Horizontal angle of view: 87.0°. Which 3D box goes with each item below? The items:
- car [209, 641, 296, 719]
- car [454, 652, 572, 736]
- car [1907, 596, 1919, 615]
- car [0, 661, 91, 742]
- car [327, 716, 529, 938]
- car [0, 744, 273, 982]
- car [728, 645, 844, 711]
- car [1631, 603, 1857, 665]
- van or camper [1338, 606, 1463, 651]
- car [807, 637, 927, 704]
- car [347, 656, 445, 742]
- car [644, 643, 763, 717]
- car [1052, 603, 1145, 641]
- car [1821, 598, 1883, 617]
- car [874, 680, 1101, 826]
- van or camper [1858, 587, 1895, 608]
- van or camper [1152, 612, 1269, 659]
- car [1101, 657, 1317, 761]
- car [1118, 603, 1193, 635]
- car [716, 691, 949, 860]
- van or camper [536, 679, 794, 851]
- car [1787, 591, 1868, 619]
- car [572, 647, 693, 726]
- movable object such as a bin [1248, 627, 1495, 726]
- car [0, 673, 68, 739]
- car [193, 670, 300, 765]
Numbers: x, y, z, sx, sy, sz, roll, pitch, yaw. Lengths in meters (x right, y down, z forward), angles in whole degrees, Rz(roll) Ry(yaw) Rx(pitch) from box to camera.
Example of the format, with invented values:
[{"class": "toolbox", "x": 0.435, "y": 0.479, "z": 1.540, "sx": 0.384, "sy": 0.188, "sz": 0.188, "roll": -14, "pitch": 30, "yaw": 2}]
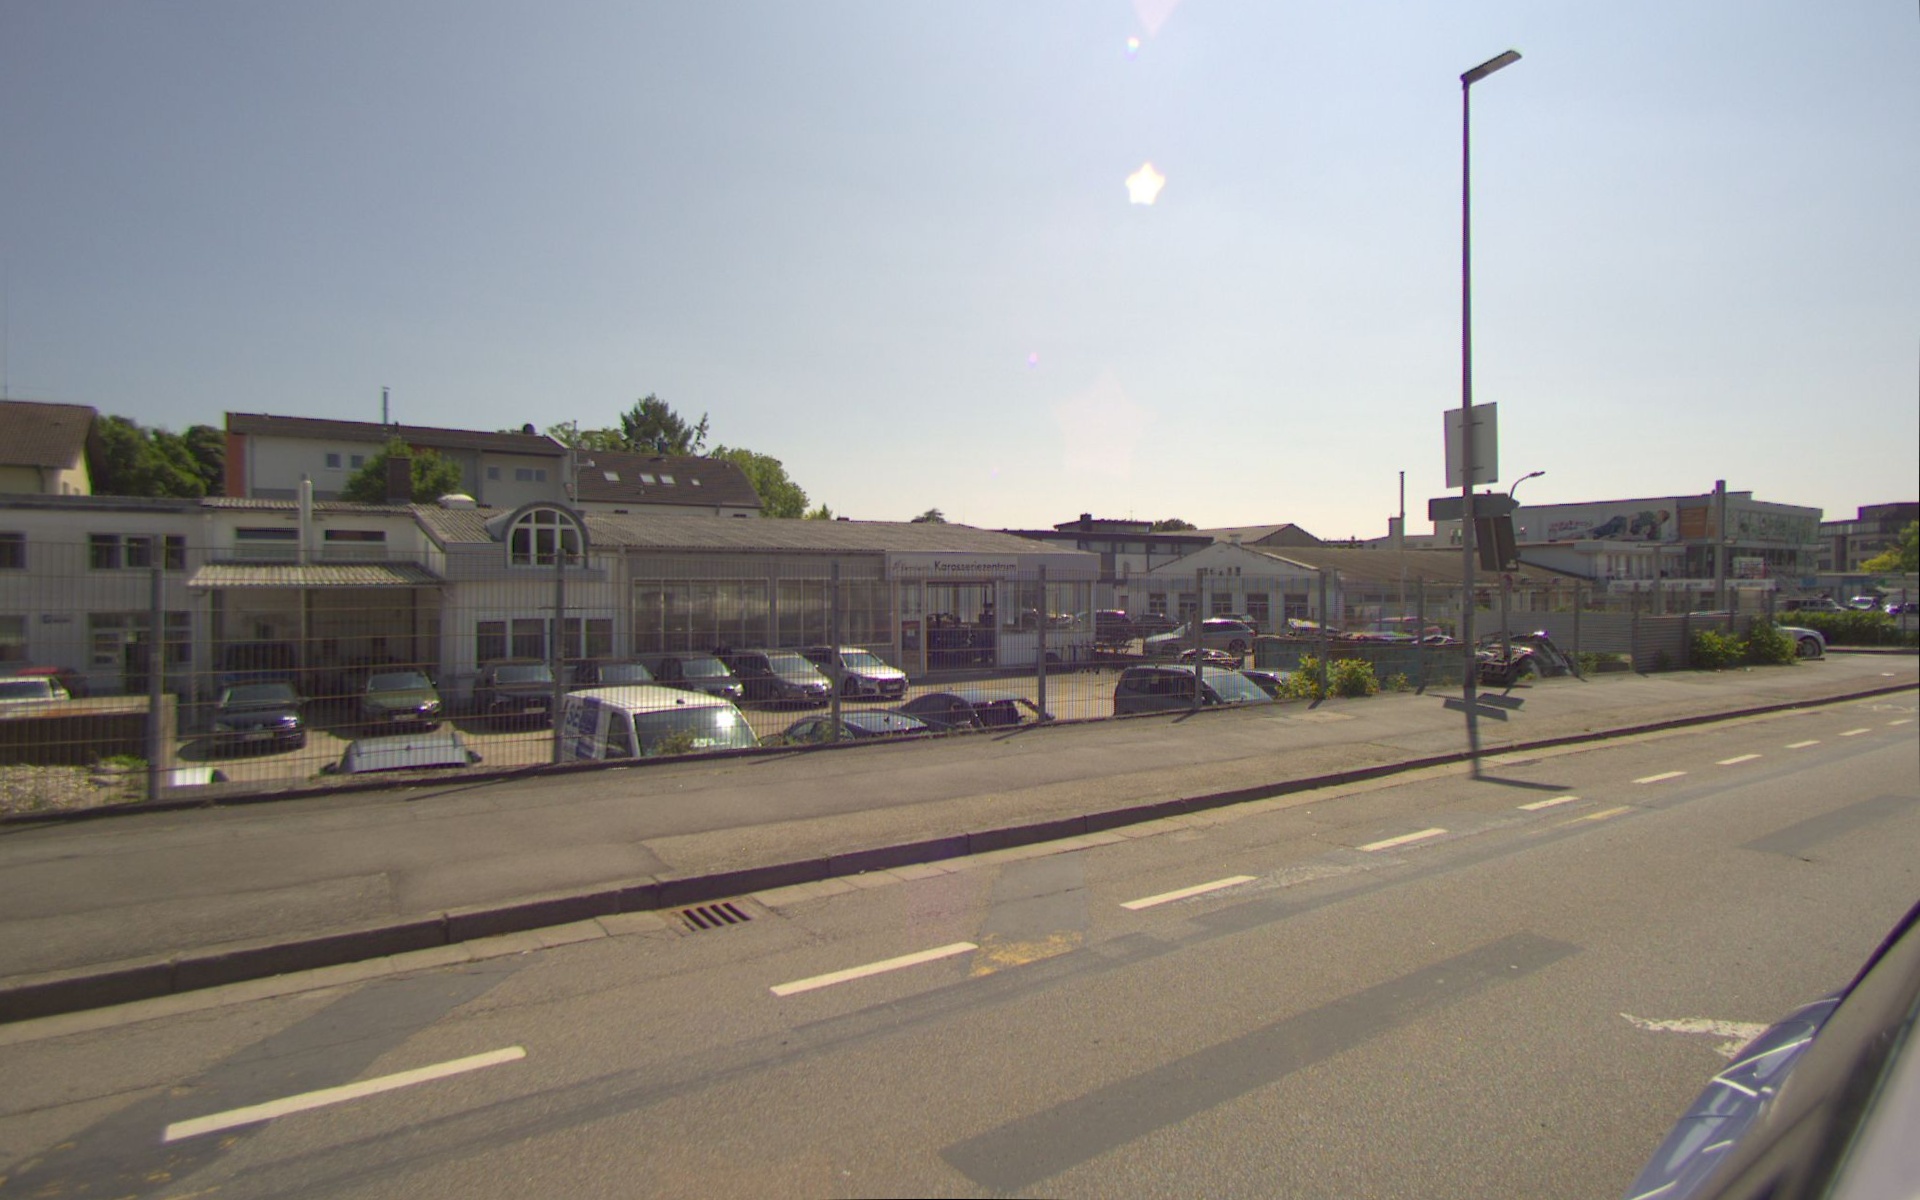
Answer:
[{"class": "car", "x": -19.883, "y": 2.162, "z": 28.412, "sx": 1.880, "sy": 1.880, "sz": 3.998, "roll": -1, "pitch": -1, "yaw": -36}, {"class": "car", "x": -11.766, "y": 2.370, "z": 26.517, "sx": 1.963, "sy": 1.682, "sz": 3.999, "roll": 0, "pitch": 1, "yaw": -37}, {"class": "car", "x": 88.549, "y": 0.504, "z": 91.114, "sx": 1.963, "sy": 1.699, "sz": 4.549, "roll": 0, "pitch": 0, "yaw": -38}, {"class": "car", "x": -26.750, "y": 2.877, "z": 29.387, "sx": 1.964, "sy": 2.039, "sz": 3.996, "roll": -2, "pitch": -1, "yaw": -37}, {"class": "car", "x": -7.014, "y": 2.705, "z": 13.132, "sx": 1.817, "sy": 2.040, "sz": 3.998, "roll": 0, "pitch": -2, "yaw": -35}, {"class": "car", "x": -9.722, "y": 2.900, "z": 12.069, "sx": 1.959, "sy": 1.854, "sz": 4.005, "roll": 0, "pitch": -2, "yaw": -26}, {"class": "car", "x": -5.291, "y": 2.271, "z": 30.416, "sx": 1.813, "sy": 1.534, "sz": 3.998, "roll": -2, "pitch": 2, "yaw": -37}, {"class": "car", "x": 20.466, "y": 0.904, "z": 26.545, "sx": 4.408, "sy": 1.376, "sz": 1.959, "roll": -2, "pitch": -3, "yaw": -5}, {"class": "van or camper", "x": 15.072, "y": 0.963, "z": 34.584, "sx": 4.150, "sy": 1.369, "sz": 1.998, "roll": 0, "pitch": -6, "yaw": -36}, {"class": "car", "x": -3.002, "y": 2.158, "z": 32.076, "sx": 1.964, "sy": 1.682, "sz": 3.998, "roll": -2, "pitch": 2, "yaw": -37}, {"class": "car", "x": -14.390, "y": 2.417, "z": 25.710, "sx": 1.827, "sy": 1.683, "sz": 4.001, "roll": 0, "pitch": 1, "yaw": -34}, {"class": "car", "x": -7.574, "y": 2.270, "z": 29.642, "sx": 1.964, "sy": 1.682, "sz": 3.998, "roll": -2, "pitch": 2, "yaw": -37}, {"class": "car", "x": 6.368, "y": 1.013, "z": 46.778, "sx": 3.920, "sy": 1.668, "sz": 2.001, "roll": 1, "pitch": -2, "yaw": -5}, {"class": "car", "x": 84.795, "y": 0.684, "z": 96.214, "sx": 1.963, "sy": 1.755, "sz": 4.115, "roll": 0, "pitch": 0, "yaw": -38}, {"class": "car", "x": 0.359, "y": 2.540, "z": 17.852, "sx": 1.962, "sy": 2.040, "sz": 3.998, "roll": 0, "pitch": -2, "yaw": -35}, {"class": "van or camper", "x": 89.598, "y": -0.277, "z": 98.929, "sx": 5.025, "sy": 2.039, "sz": 2.121, "roll": 0, "pitch": 0, "yaw": -41}, {"class": "van or camper", "x": 10.146, "y": 1.427, "z": 41.186, "sx": 4.143, "sy": 1.561, "sz": 2.005, "roll": -1, "pitch": 5, "yaw": -8}, {"class": "car", "x": 4.995, "y": 2.133, "z": 20.782, "sx": 1.962, "sy": 1.672, "sz": 3.998, "roll": 0, "pitch": 0, "yaw": -36}, {"class": "car", "x": 11.347, "y": 1.110, "z": 58.952, "sx": 1.963, "sy": 1.817, "sz": 3.996, "roll": 1, "pitch": -2, "yaw": -38}, {"class": "car", "x": -2.135, "y": 2.578, "z": 15.954, "sx": 1.962, "sy": 2.040, "sz": 3.998, "roll": 0, "pitch": -2, "yaw": -35}, {"class": "van or camper", "x": -4.275, "y": 2.113, "z": 14.195, "sx": 1.984, "sy": 1.672, "sz": 4.322, "roll": 0, "pitch": 0, "yaw": -39}, {"class": "car", "x": 79.922, "y": 0.448, "z": 93.302, "sx": 2.284, "sy": 2.449, "sz": 5.309, "roll": 0, "pitch": 0, "yaw": -39}, {"class": "car", "x": -9.123, "y": 2.301, "z": 28.035, "sx": 1.964, "sy": 1.682, "sz": 3.998, "roll": -2, "pitch": 2, "yaw": -37}, {"class": "movable object such as a bin", "x": 9.580, "y": 1.741, "z": 24.031, "sx": 1.962, "sy": 2.040, "sz": 5.130, "roll": 0, "pitch": -3, "yaw": -34}, {"class": "car", "x": -23.996, "y": 2.679, "z": 25.578, "sx": 1.837, "sy": 1.422, "sz": 3.833, "roll": -3, "pitch": -1, "yaw": -37}, {"class": "car", "x": -16.330, "y": 2.586, "z": 23.092, "sx": 1.812, "sy": 1.534, "sz": 3.998, "roll": -2, "pitch": 2, "yaw": -37}]
